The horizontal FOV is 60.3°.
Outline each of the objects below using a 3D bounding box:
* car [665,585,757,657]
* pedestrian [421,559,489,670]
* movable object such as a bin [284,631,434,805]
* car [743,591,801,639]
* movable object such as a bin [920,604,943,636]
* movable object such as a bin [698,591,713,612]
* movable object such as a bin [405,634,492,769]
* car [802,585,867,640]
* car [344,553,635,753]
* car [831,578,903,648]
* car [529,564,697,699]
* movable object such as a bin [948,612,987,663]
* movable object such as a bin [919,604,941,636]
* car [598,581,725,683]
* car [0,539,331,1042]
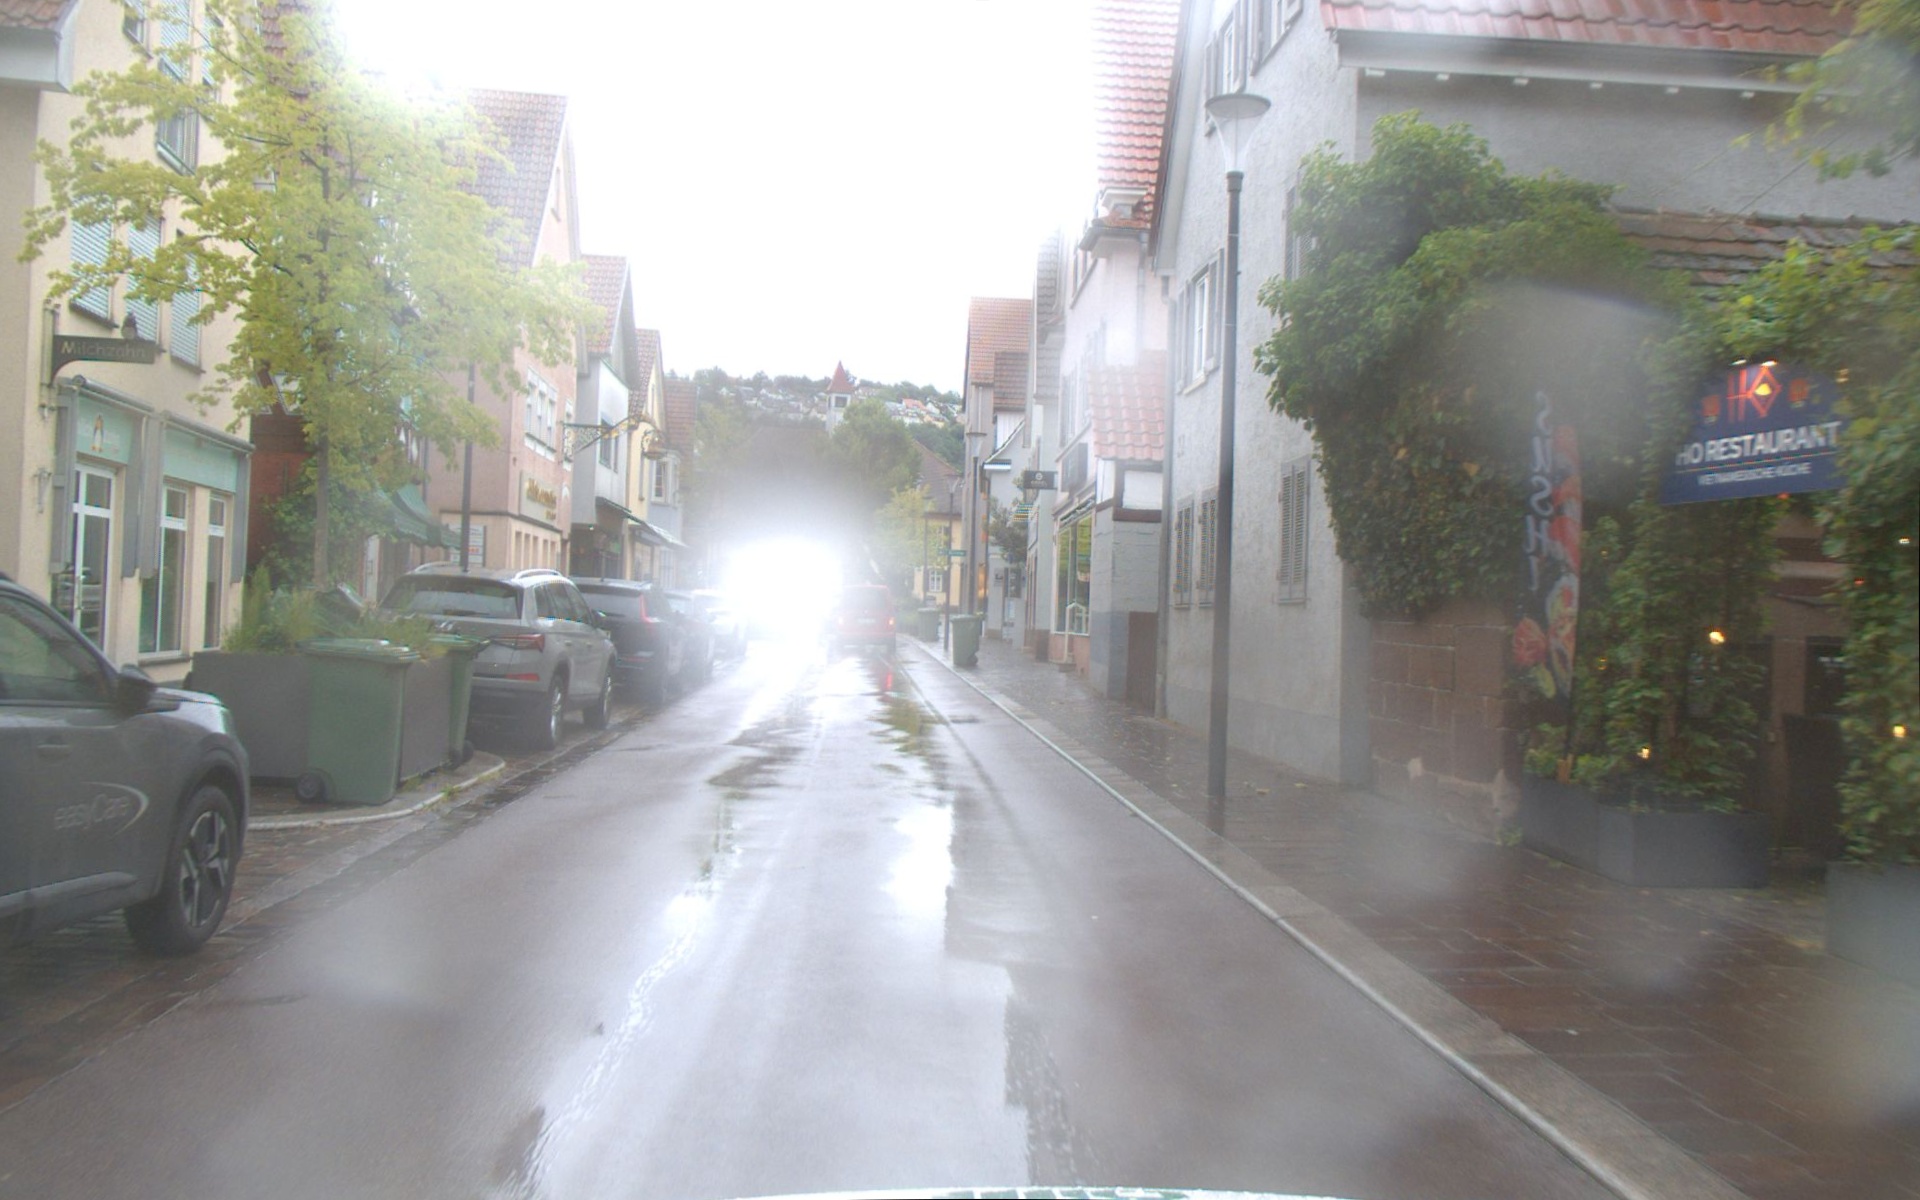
[{"bbox_3d":[-6.065,0.469,40.684,1.658,1.565,4.120,3,1,-2],"label":"car"},{"bbox_3d":[-8.040,0.238,26.382,0.773,1.711,1.174,3,-2,-8],"label":"pedestrian"},{"bbox_3d":[-4.022,0.778,11.126,0.732,1.102,0.743,3,-2,-6],"label":"movable object such as a bin"},{"bbox_3d":[-6.457,0.491,57.190,1.658,1.468,3.883,3,1,-3],"label":"car"},{"bbox_3d":[-1.008,0.697,58.124,0.753,1.098,0.598,2,-2,-3],"label":"movable object such as a bin"},{"bbox_3d":[-14.227,0.103,92.396,0.702,1.125,0.598,3,-2,-13],"label":"movable object such as a bin"},{"bbox_3d":[-4.167,0.819,13.494,0.541,1.064,0.534,2,-2,-7],"label":"movable object such as a bin"},{"bbox_3d":[-4.526,0.472,59.253,1.957,1.831,3.992,3,-2,-9],"label":"car"},{"bbox_3d":[-4.610,0.526,16.948,1.788,1.695,4.639,3,-1,-3],"label":"car"},{"bbox_3d":[-2.661,0.334,47.947,1.856,1.843,3.999,3,1,-2],"label":"car"},{"bbox_3d":[-4.923,0.472,24.045,1.789,1.695,4.637,3,-1,-5],"label":"car"},{"bbox_3d":[0.159,0.826,36.427,0.777,1.099,0.614,1,-1,-6],"label":"movable object such as a bin"},{"bbox_3d":[-1.067,0.717,58.758,0.739,1.082,0.599,2,-2,-3],"label":"movable object such as a bin"},{"bbox_3d":[-5.315,0.515,29.909,1.745,1.565,4.286,3,1,-5],"label":"car"},{"bbox_3d":[-3.857,0.538,5.564,1.824,1.551,4.327,3,0,-1],"label":"car"}]
